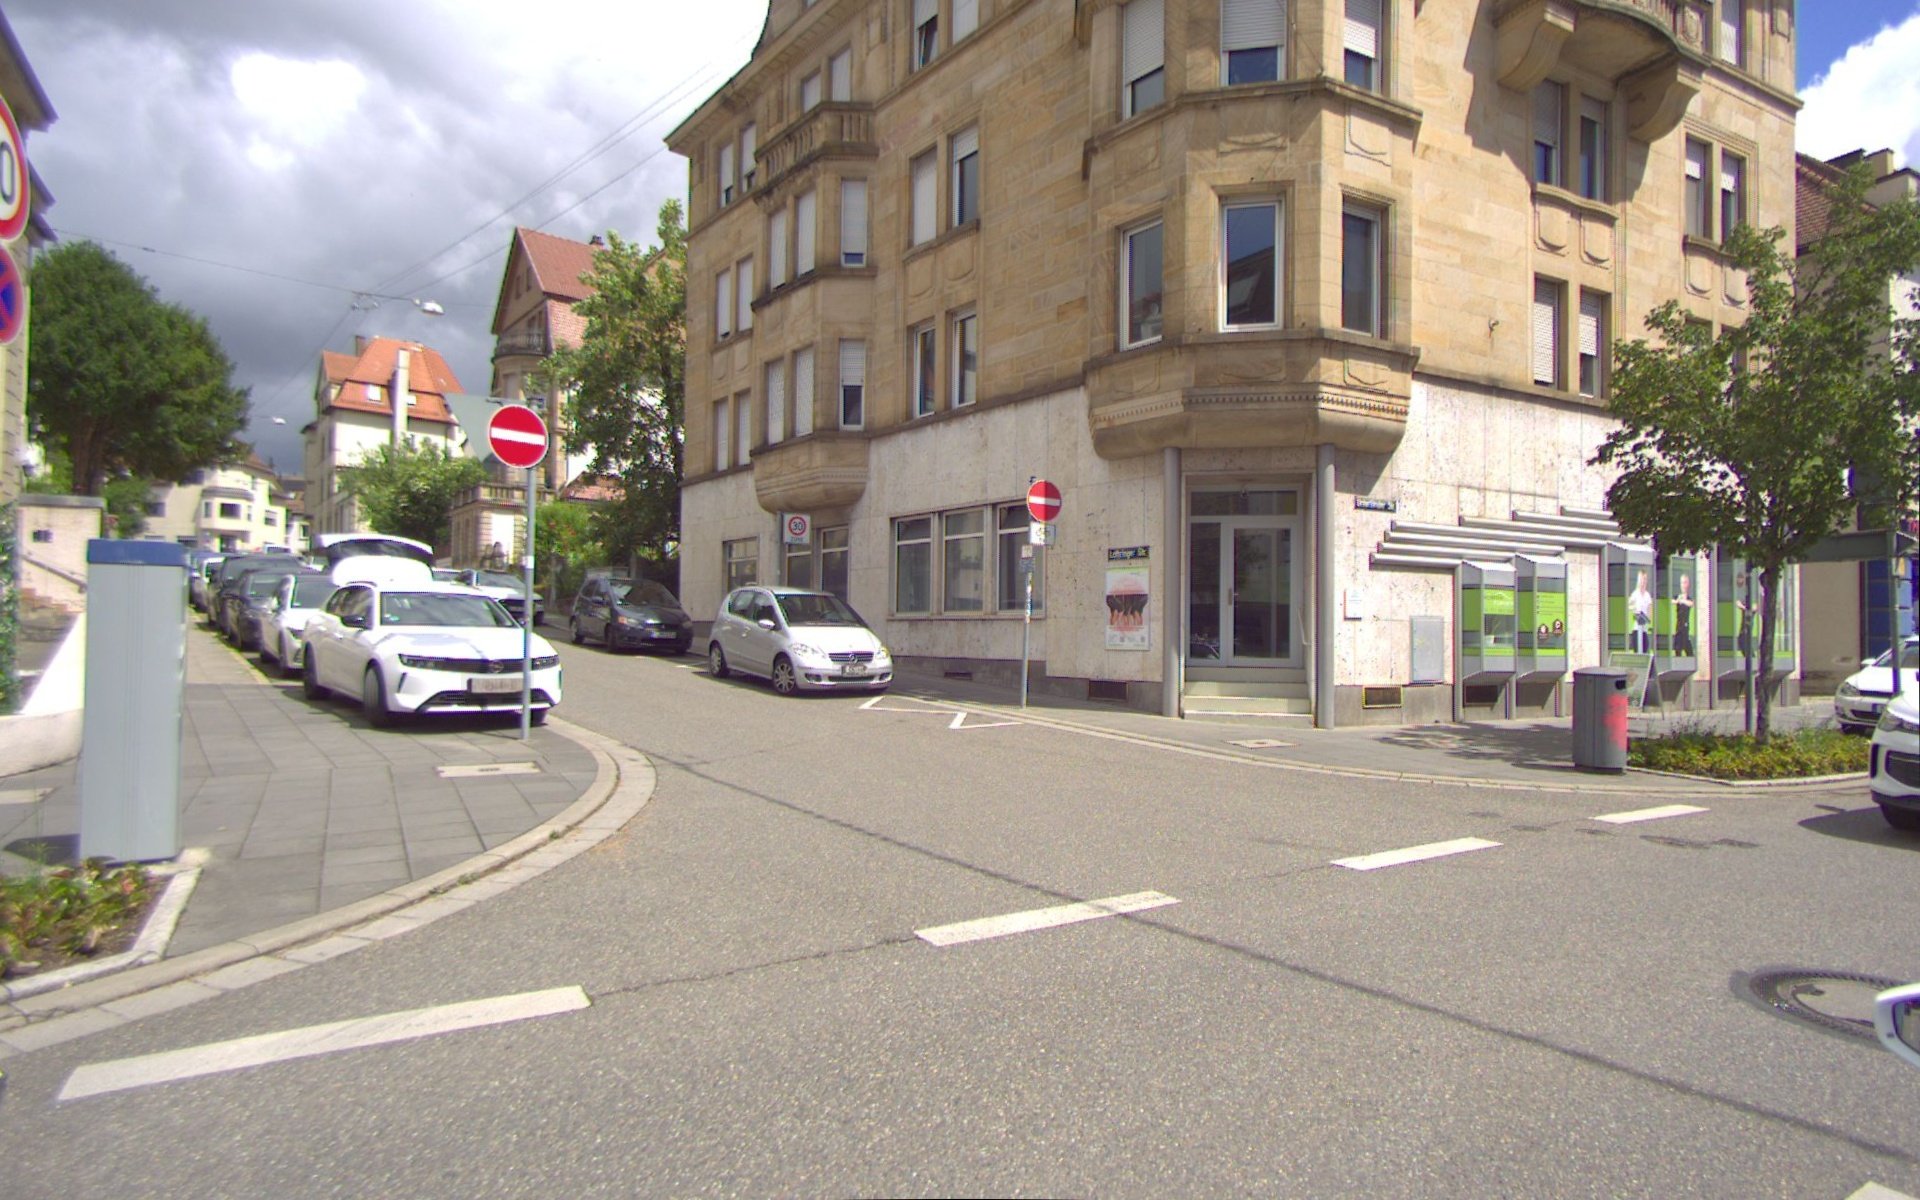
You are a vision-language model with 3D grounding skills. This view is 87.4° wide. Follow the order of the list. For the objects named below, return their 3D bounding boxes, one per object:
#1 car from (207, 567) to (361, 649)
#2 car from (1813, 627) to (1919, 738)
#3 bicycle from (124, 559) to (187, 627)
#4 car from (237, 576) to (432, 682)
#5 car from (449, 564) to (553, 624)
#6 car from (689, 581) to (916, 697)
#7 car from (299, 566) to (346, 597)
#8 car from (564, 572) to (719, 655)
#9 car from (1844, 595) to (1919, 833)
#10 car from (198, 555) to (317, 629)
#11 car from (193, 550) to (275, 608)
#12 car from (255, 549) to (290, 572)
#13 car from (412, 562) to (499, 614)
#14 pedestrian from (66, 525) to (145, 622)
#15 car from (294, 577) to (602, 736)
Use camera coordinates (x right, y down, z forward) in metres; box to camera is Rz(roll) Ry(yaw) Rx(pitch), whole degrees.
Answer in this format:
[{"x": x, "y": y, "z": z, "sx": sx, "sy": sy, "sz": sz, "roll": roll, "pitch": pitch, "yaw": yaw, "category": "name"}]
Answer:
[{"x": -13.342, "y": 0.109, "z": 19.725, "sx": 1.819, "sy": 1.399, "sz": 4.178, "roll": 2, "pitch": 1, "yaw": -43, "category": "car"}, {"x": 14.238, "y": 1.162, "z": 14.379, "sx": 3.989, "sy": 1.416, "sz": 1.837, "roll": 2, "pitch": 0, "yaw": -30, "category": "car"}, {"x": -18.007, "y": -0.155, "z": 22.497, "sx": 0.796, "sy": 1.469, "sz": 1.013, "roll": 2, "pitch": 0, "yaw": -21, "category": "bicycle"}, {"x": -10.018, "y": 0.389, "z": 15.950, "sx": 1.819, "sy": 1.399, "sz": 4.178, "roll": 2, "pitch": 1, "yaw": -43, "category": "car"}, {"x": -13.433, "y": -0.207, "z": 29.265, "sx": 1.981, "sy": 1.582, "sz": 4.176, "roll": 2, "pitch": 0, "yaw": -36, "category": "car"}, {"x": -2.697, "y": 0.548, "z": 16.406, "sx": 1.981, "sy": 1.582, "sz": 4.176, "roll": 2, "pitch": 0, "yaw": -36, "category": "car"}, {"x": -35.385, "y": -1.029, "z": 55.726, "sx": 1.981, "sy": 1.582, "sz": 4.176, "roll": 2, "pitch": 0, "yaw": -36, "category": "car"}, {"x": -6.962, "y": 0.237, "z": 21.693, "sx": 1.981, "sy": 1.582, "sz": 4.176, "roll": 2, "pitch": 0, "yaw": -36, "category": "car"}, {"x": 8.732, "y": 0.868, "z": 7.541, "sx": 4.064, "sy": 1.662, "sz": 1.781, "roll": 2, "pitch": 0, "yaw": -27, "category": "car"}, {"x": -16.380, "y": -0.196, "z": 23.350, "sx": 1.841, "sy": 1.564, "sz": 3.951, "roll": 1, "pitch": 1, "yaw": -41, "category": "car"}, {"x": -21.717, "y": -0.630, "z": 30.167, "sx": 1.813, "sy": 1.573, "sz": 4.193, "roll": 2, "pitch": 0, "yaw": -34, "category": "car"}, {"x": -50.024, "y": -2.864, "z": 73.082, "sx": 1.981, "sy": 1.582, "sz": 4.176, "roll": 2, "pitch": 0, "yaw": -36, "category": "car"}, {"x": -17.078, "y": -0.430, "z": 33.902, "sx": 1.981, "sy": 1.582, "sz": 4.176, "roll": 2, "pitch": 0, "yaw": -36, "category": "car"}, {"x": -18.806, "y": -0.570, "z": 22.126, "sx": 1.024, "sy": 2.040, "sz": 0.967, "roll": 2, "pitch": 0, "yaw": -23, "category": "pedestrian"}, {"x": -6.001, "y": 0.511, "z": 11.504, "sx": 1.986, "sy": 1.399, "sz": 4.331, "roll": 2, "pitch": 1, "yaw": -43, "category": "car"}]
